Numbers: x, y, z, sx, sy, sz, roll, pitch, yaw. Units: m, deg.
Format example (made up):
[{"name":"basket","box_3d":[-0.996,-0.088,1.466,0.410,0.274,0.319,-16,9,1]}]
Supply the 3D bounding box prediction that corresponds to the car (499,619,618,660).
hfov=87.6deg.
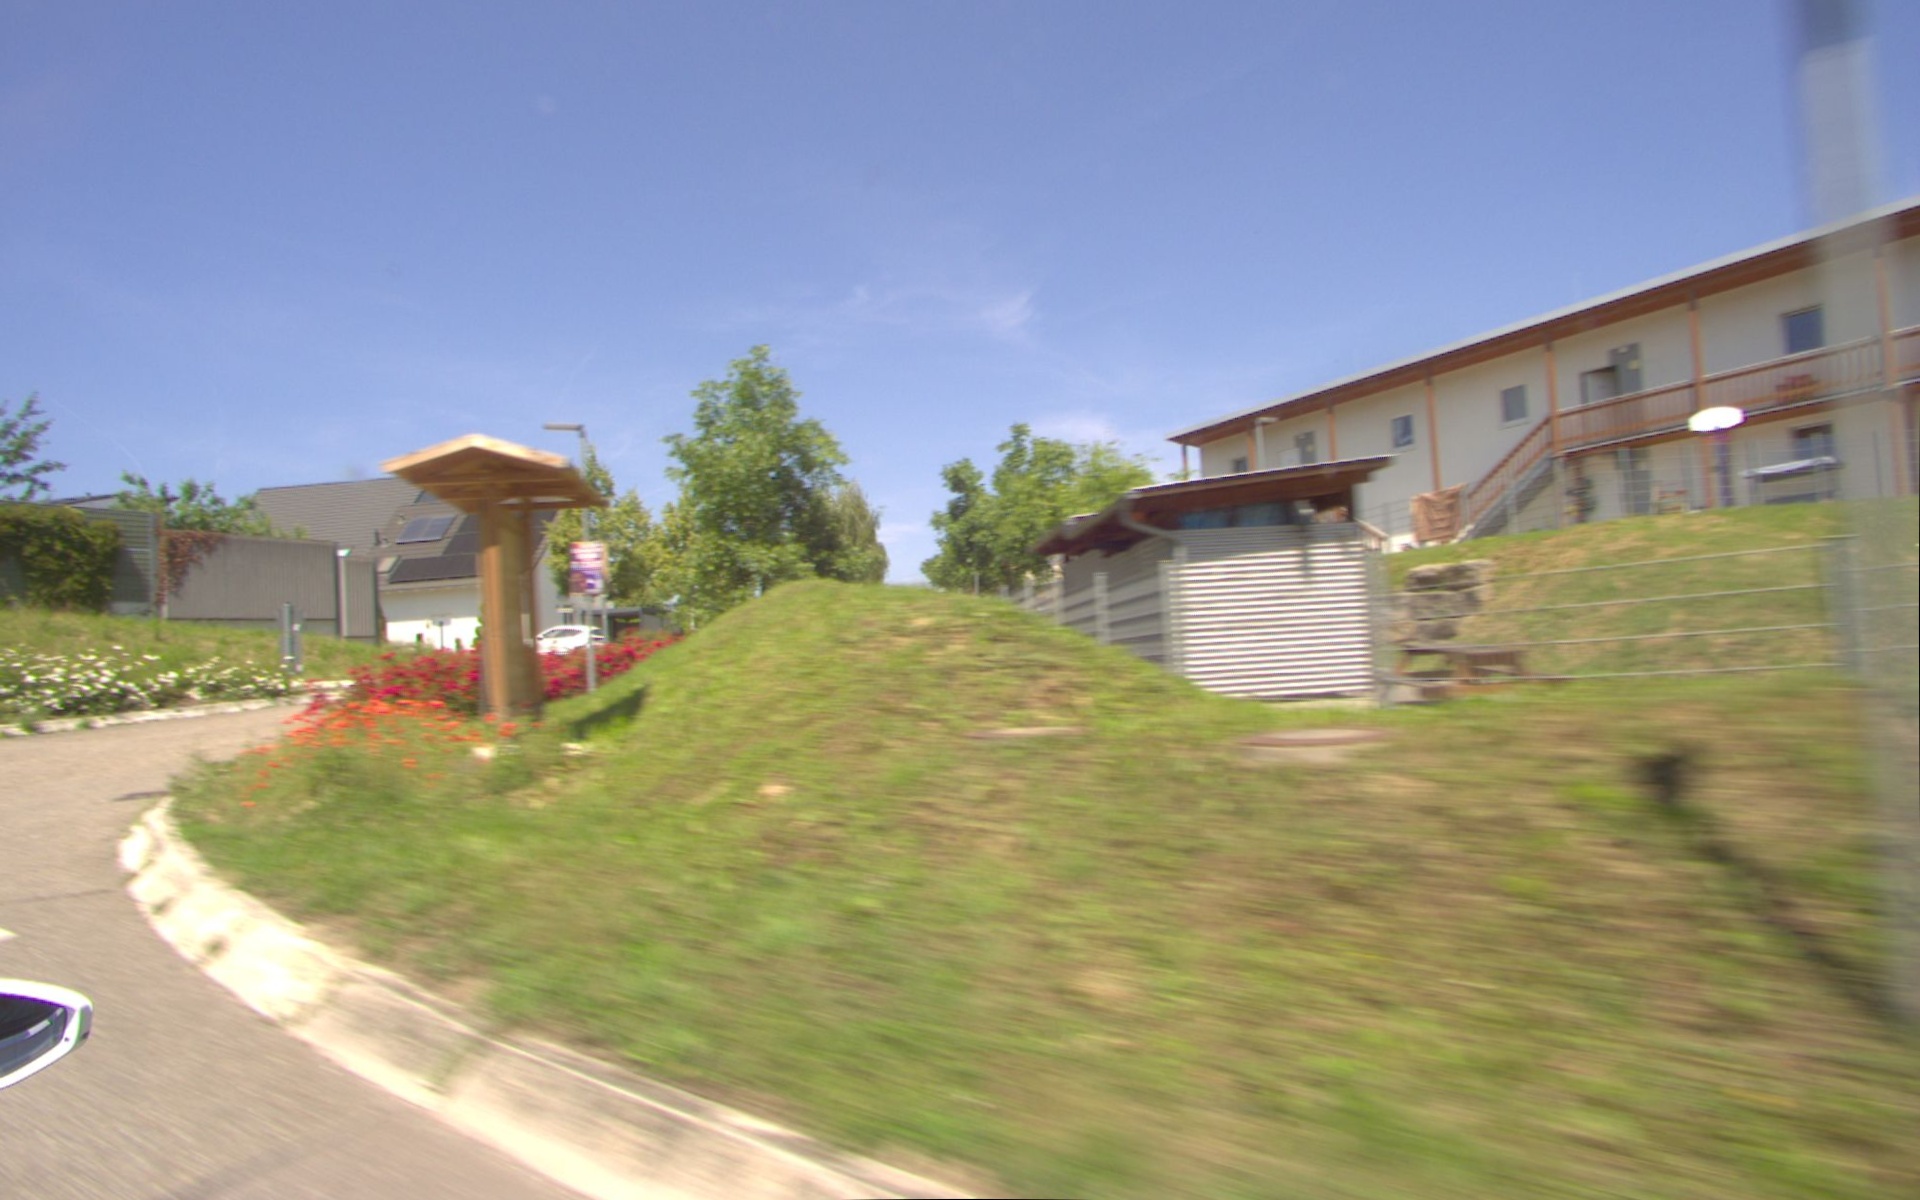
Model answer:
[{"name":"car","box_3d":[-18.218,1.827,45.535,4.515,1.674,2.004,1,-6,4]}]
